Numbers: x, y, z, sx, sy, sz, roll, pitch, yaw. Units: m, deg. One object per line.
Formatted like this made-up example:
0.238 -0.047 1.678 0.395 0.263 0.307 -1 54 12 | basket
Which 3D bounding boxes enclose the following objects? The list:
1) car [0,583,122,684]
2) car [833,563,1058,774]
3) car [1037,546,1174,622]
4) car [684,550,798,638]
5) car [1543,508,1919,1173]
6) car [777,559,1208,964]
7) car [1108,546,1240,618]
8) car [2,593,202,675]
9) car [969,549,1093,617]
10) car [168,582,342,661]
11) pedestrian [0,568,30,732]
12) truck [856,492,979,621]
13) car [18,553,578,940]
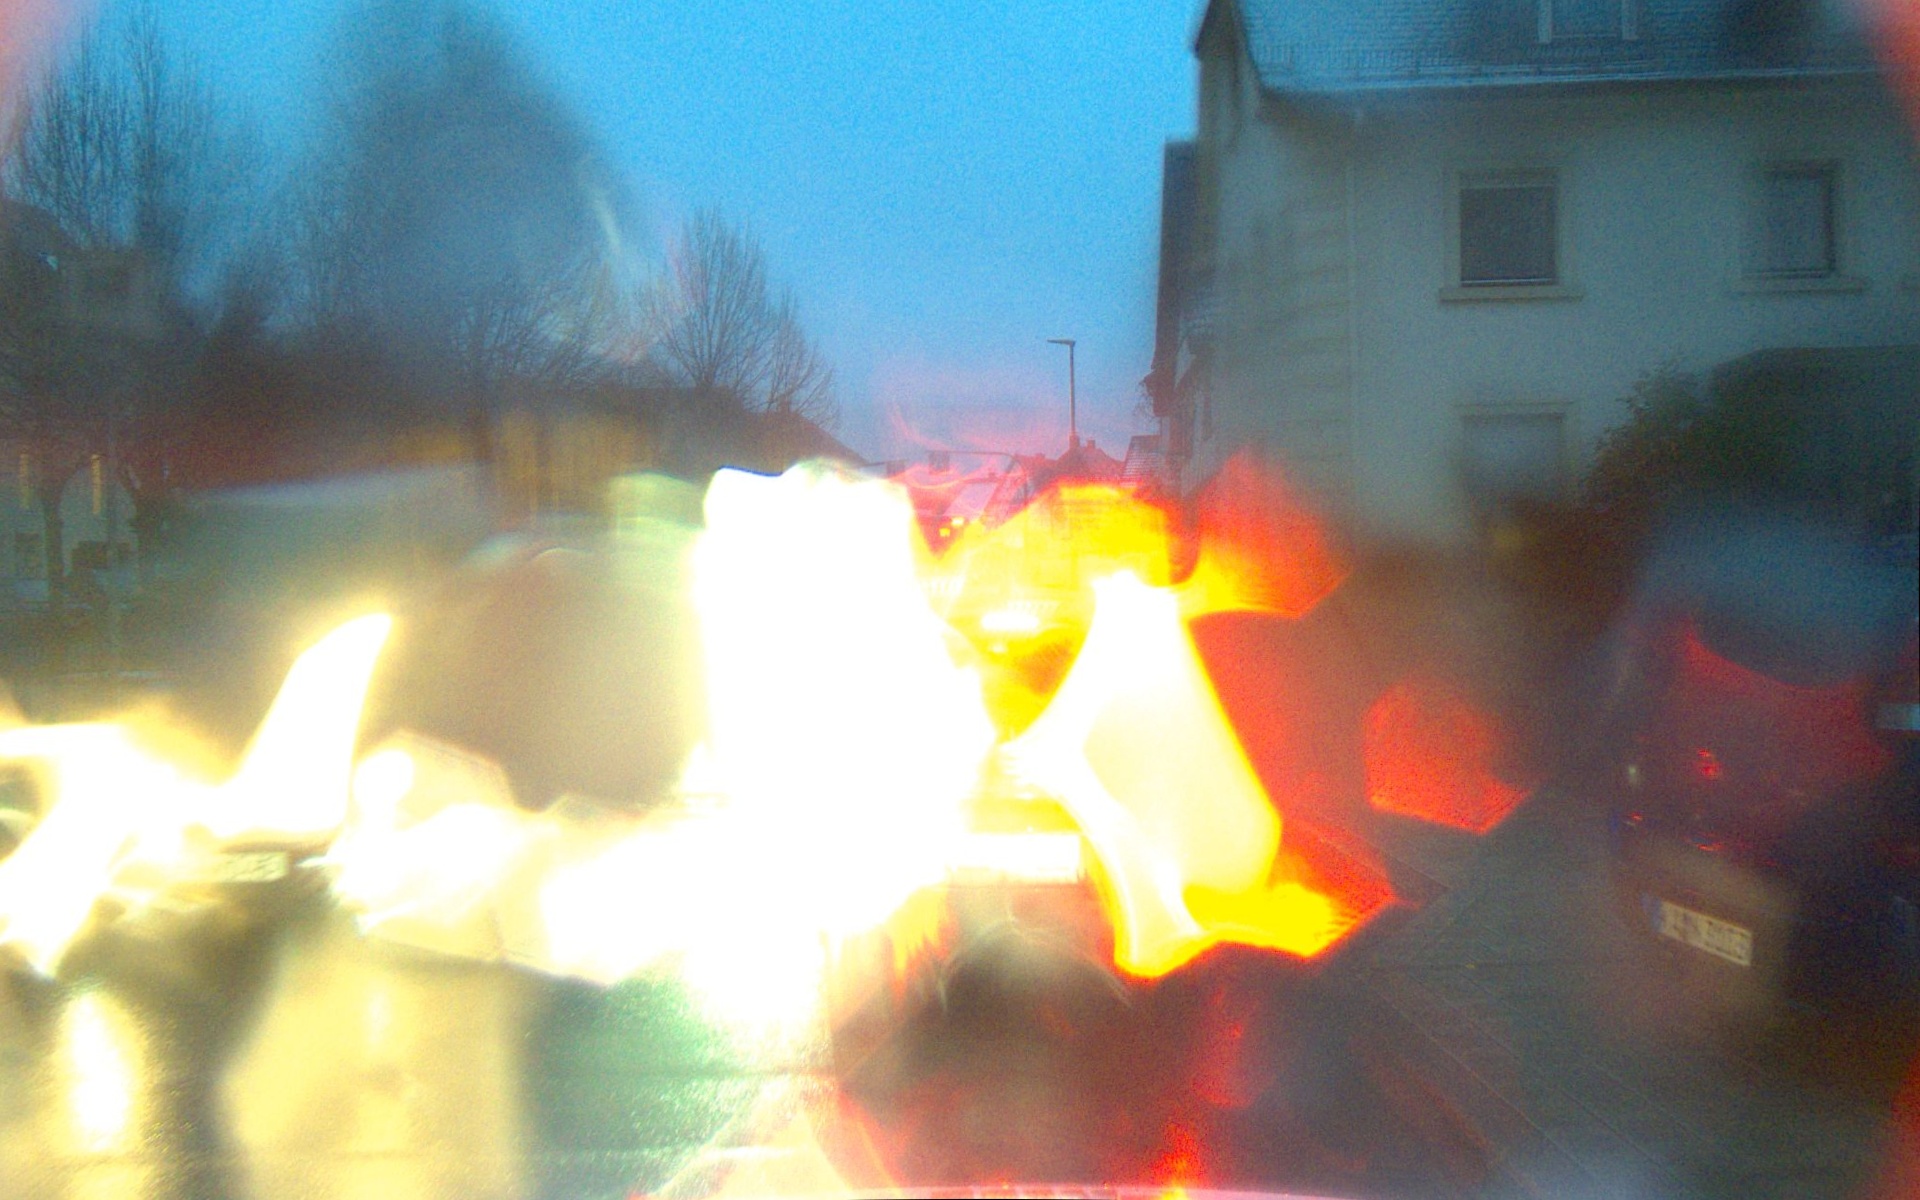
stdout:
-19.862 0.666 34.735 3.903 2.023 1.820 0 1 19 | car
-0.176 0.458 13.459 1.605 1.507 3.270 0 1 -3 | car
4.362 -0.479 49.476 4.010 2.200 1.915 0 1 6 | car
-4.317 -0.148 33.121 1.774 1.624 4.398 -1 1 -1 | car
3.987 0.525 5.058 3.795 1.607 1.680 -2 0 -7 | car
0.100 0.585 7.855 1.604 1.507 3.378 0 1 -1 | car
6.691 -0.555 51.801 4.010 2.189 1.915 0 1 6 | car
-19.453 0.739 37.539 3.903 1.760 1.820 0 1 19 | car
2.407 -0.578 55.507 4.010 2.189 1.915 0 1 6 | car
-18.239 0.536 42.819 3.903 1.944 1.820 0 1 19 | car
-8.933 0.448 15.144 0.643 1.484 0.641 0 1 -37 | pedestrian
-1.292 -1.142 44.830 2.956 3.183 7.994 0 1 -4 | truck
-3.081 0.567 8.436 1.605 1.562 3.404 0 1 -3 | car
